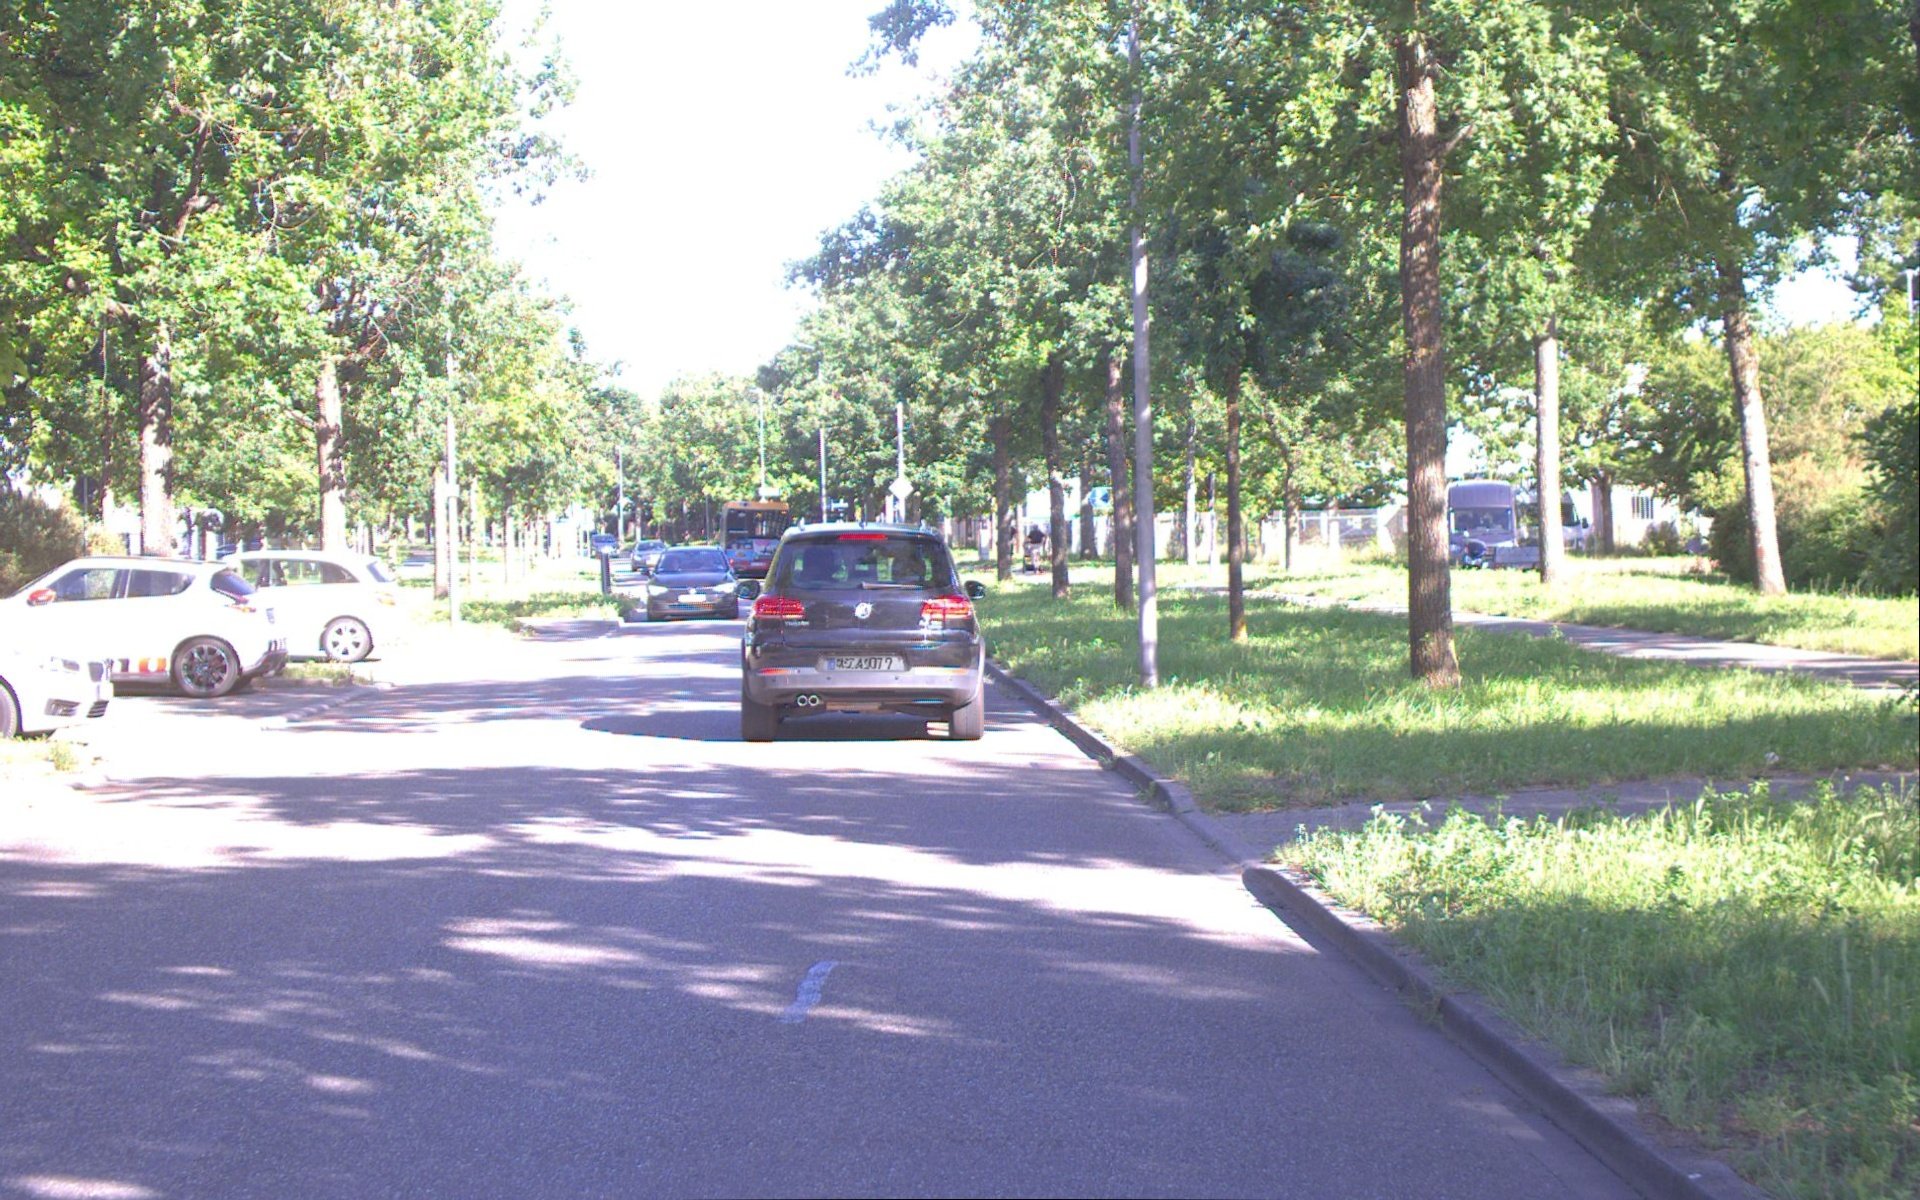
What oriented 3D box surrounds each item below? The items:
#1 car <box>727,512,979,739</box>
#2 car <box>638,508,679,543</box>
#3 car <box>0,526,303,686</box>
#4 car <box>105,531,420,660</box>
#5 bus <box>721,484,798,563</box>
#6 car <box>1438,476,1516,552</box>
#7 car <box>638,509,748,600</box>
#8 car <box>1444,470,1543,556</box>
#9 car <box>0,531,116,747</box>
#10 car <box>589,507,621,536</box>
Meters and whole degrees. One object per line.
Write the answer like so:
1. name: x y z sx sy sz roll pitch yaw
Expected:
1. car: -0.824 0.136 27.198 1.838 1.631 3.958 -1 2 -1
2. car: -14.186 -3.509 161.909 1.825 1.546 3.689 -2 2 -4
3. car: -9.396 0.060 37.652 4.016 1.642 1.811 -1 1 0
4. car: -9.745 -0.079 48.237 4.016 1.642 1.811 -2 2 0
5. bus: -7.959 -3.018 136.650 2.928 2.993 5.738 -1 1 -3
6. car: 14.216 -2.358 94.645 1.994 2.007 3.999 -1 1 7
7. car: -5.221 -0.896 67.606 1.852 1.687 3.956 -1 1 -1
8. car: 13.045 -2.139 84.219 2.054 2.006 4.000 -2 2 5
9. car: -8.929 0.321 27.232 4.016 1.642 1.811 -1 1 0
10. car: -21.856 -4.842 211.840 1.816 1.769 3.778 -2 2 -4
